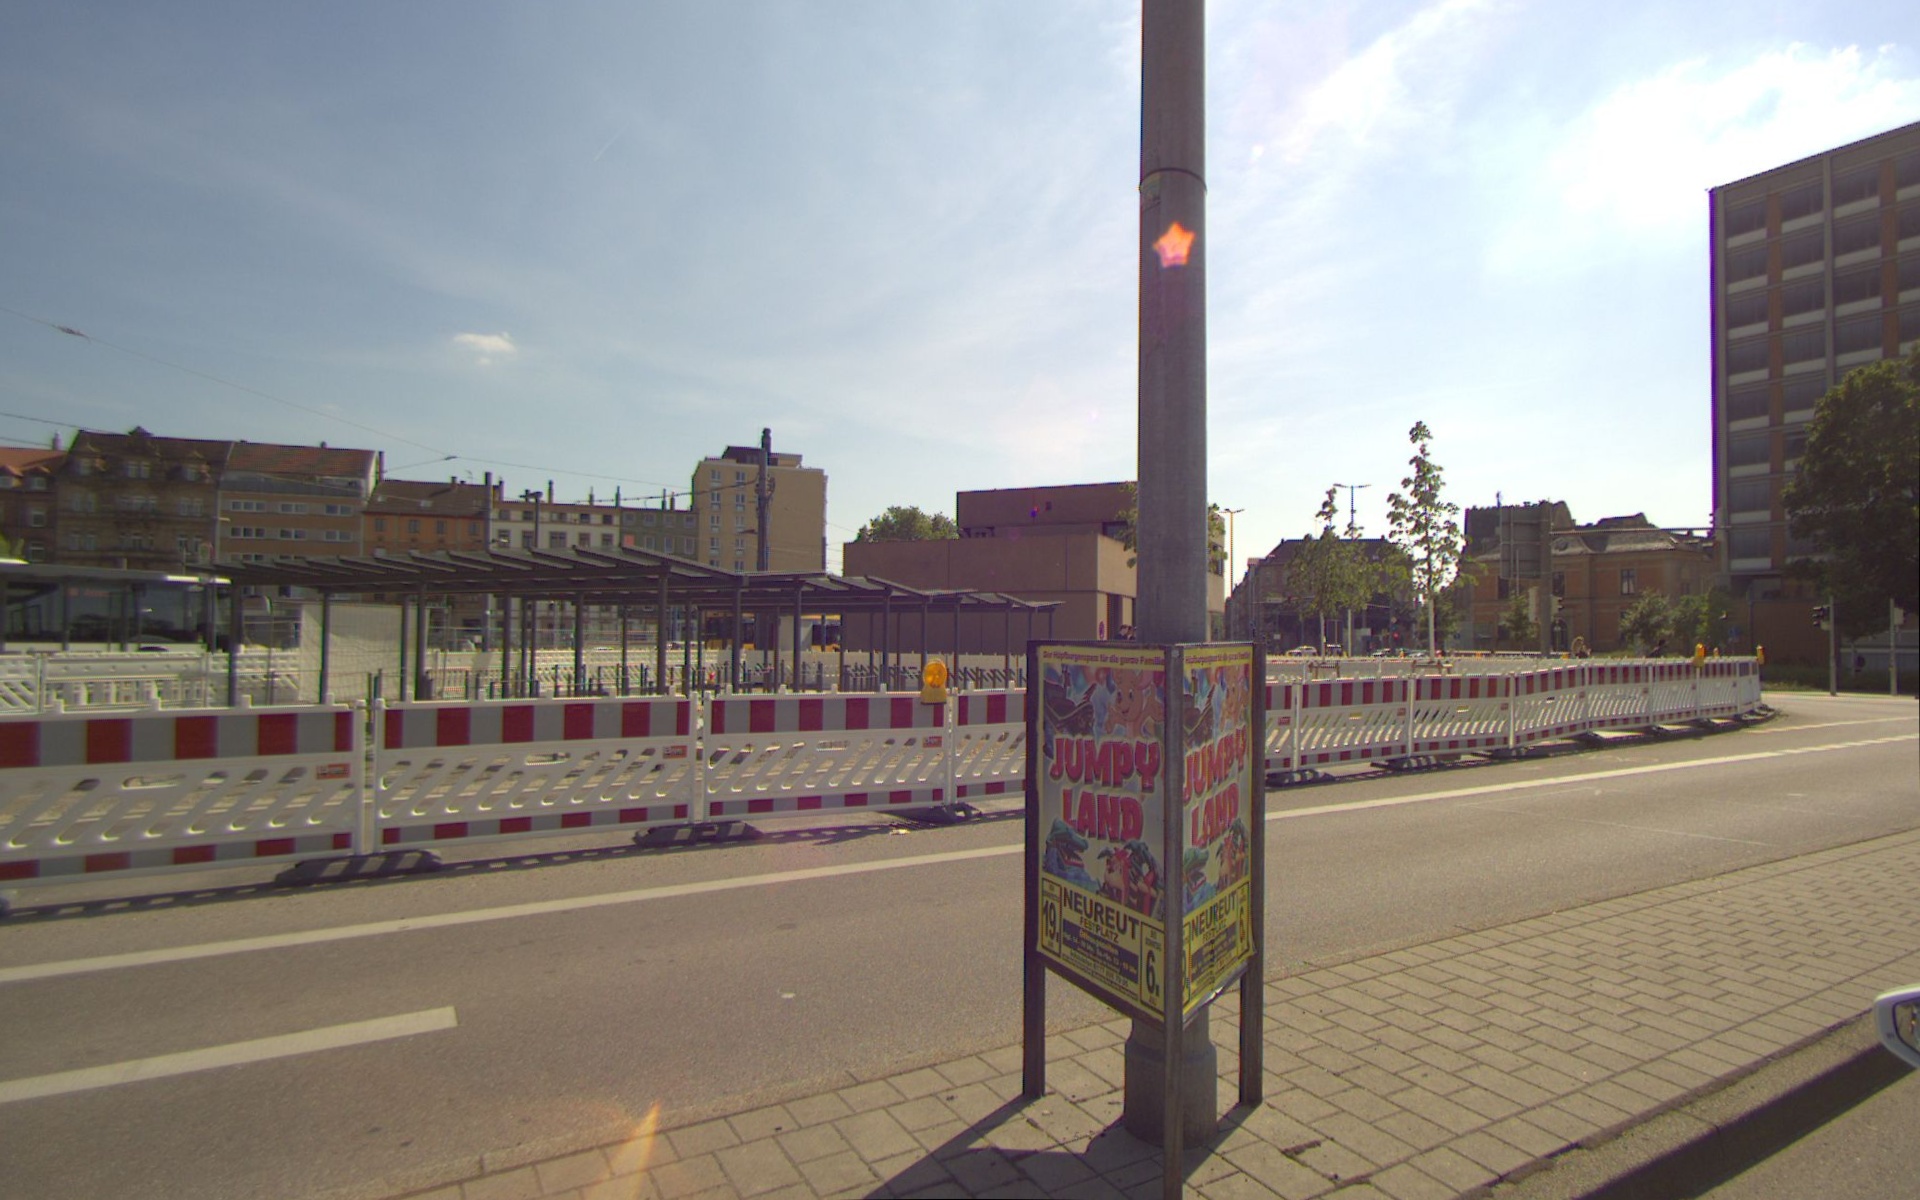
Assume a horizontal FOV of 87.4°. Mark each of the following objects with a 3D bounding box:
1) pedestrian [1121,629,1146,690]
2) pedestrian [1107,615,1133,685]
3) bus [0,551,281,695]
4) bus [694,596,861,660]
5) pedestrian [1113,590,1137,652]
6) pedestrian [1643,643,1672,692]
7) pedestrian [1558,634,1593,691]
[{"bbox_3d":[4.952,1.699,28.671,0.559,1.731,0.539,1,-2,-9],"label":"pedestrian"},{"bbox_3d":[4.441,1.394,27.902,0.595,1.940,0.441,1,-2,-9],"label":"pedestrian"},{"bbox_3d":[-24.754,0.594,25.646,2.808,3.535,12.651,-1,-3,25],"label":"bus"},{"bbox_3d":[-10.147,1.736,58.260,2.808,3.324,12.651,-1,-3,25],"label":"bus"},{"bbox_3d":[4.830,0.633,29.429,0.559,1.801,0.544,1,-2,-9],"label":"pedestrian"},{"bbox_3d":[21.901,2.111,31.548,0.624,1.511,0.613,-2,-3,44],"label":"pedestrian"},{"bbox_3d":[19.678,1.999,32.125,0.728,1.775,1.105,-2,-5,44],"label":"pedestrian"}]
